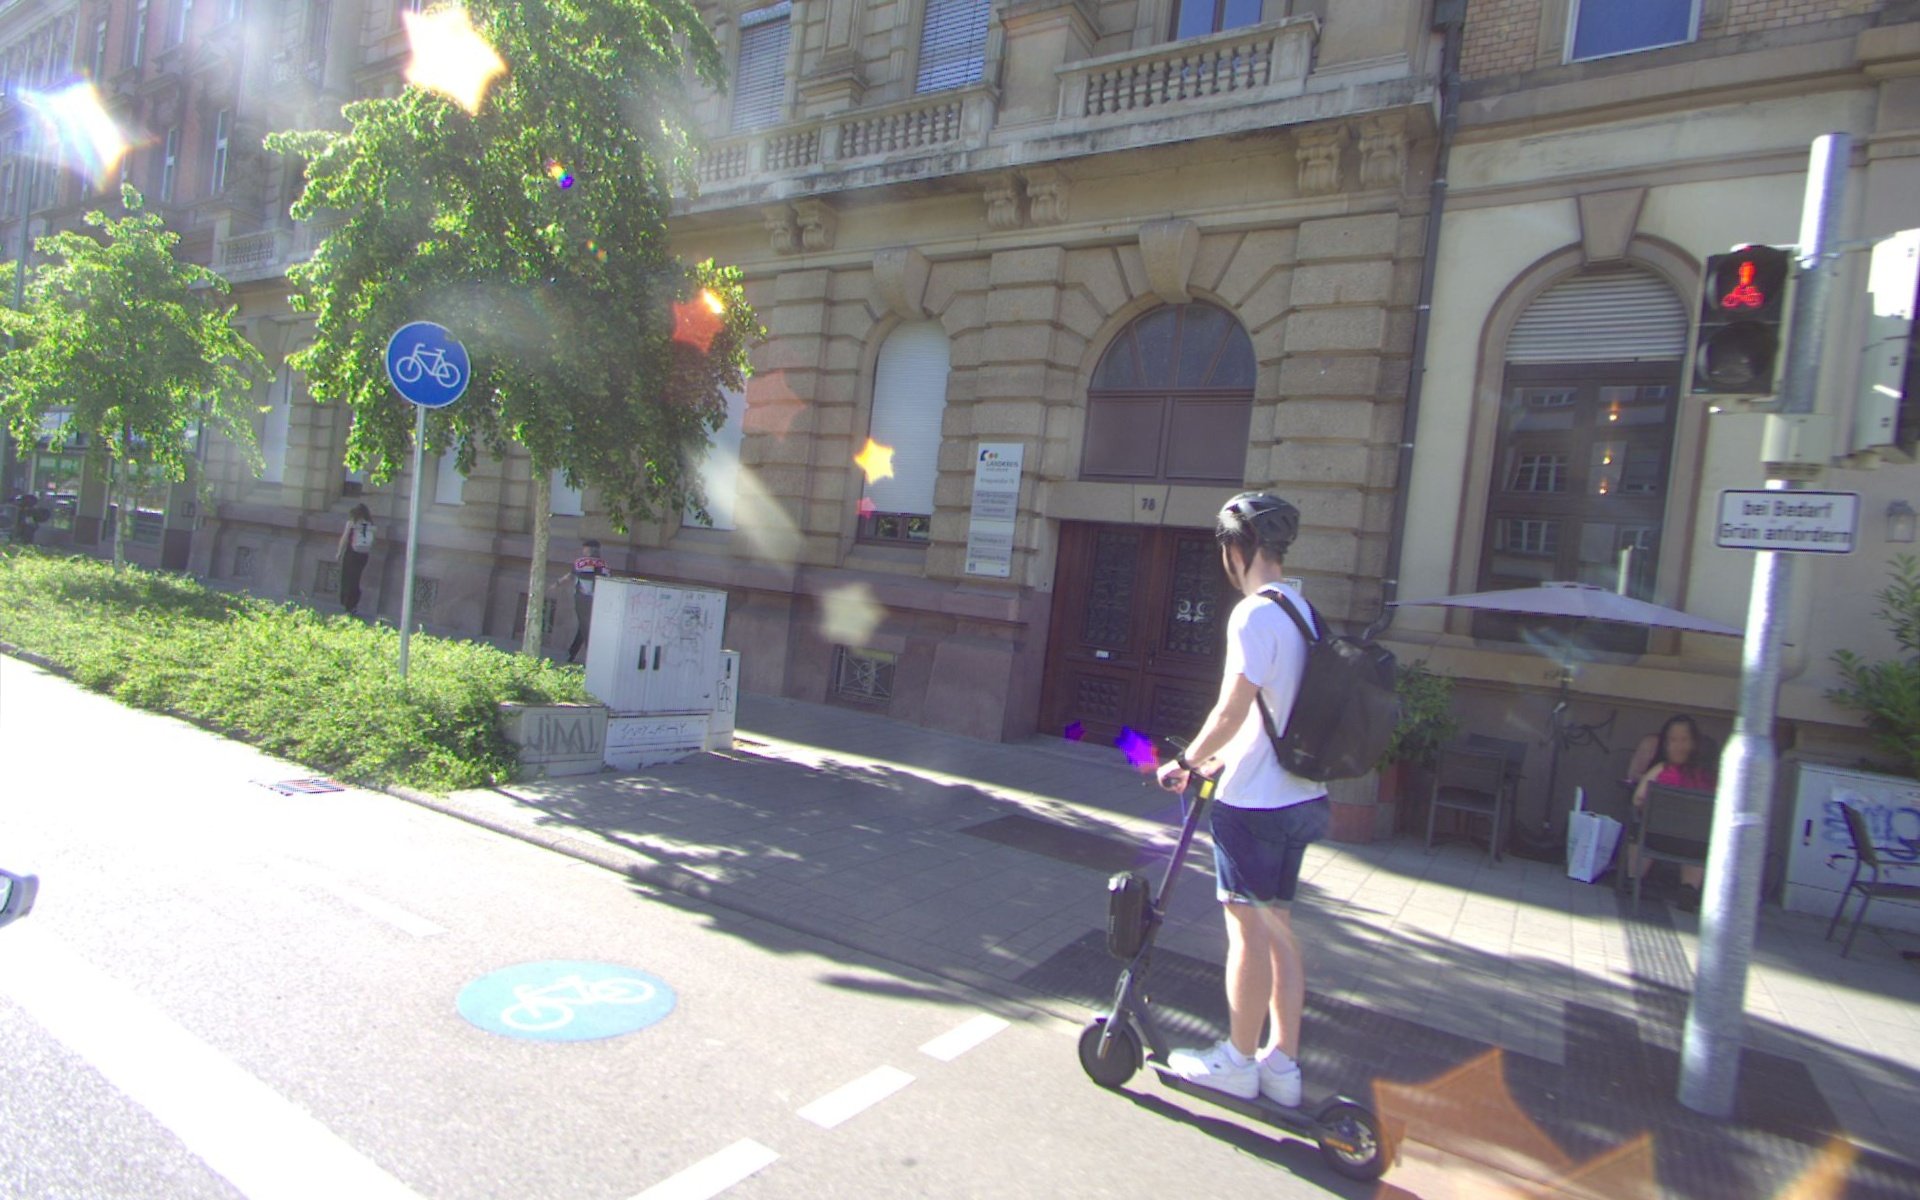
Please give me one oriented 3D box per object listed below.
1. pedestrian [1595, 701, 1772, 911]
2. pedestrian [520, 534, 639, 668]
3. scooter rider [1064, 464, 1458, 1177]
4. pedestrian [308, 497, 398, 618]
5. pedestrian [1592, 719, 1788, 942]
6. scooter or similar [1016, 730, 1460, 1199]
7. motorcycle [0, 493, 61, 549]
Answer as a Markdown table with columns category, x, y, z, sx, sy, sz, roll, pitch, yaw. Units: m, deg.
| category | x | y | z | sx | sy | sz | roll | pitch | yaw |
| --- | --- | --- | --- | --- | --- | --- | --- | --- | --- |
| pedestrian | 5.262 | 1.458 | 7.381 | 0.873 | 1.298 | 0.726 | 6 | 1 | 31 |
| pedestrian | -5.279 | 0.016 | 13.963 | 1.096 | 1.714 | 0.969 | 7 | 2 | 33 |
| scooter rider | 0.974 | 0.594 | 3.200 | 0.882 | 1.889 | 0.662 | 7 | 0 | 27 |
| pedestrian | -10.466 | -0.730 | 17.350 | 1.081 | 1.945 | 0.889 | 7 | 3 | 37 |
| pedestrian | 4.731 | 1.450 | 6.591 | 0.867 | 1.198 | 0.718 | 6 | 0 | 31 |
| scooter or similar | 0.890 | 1.100 | 3.208 | 1.130 | 1.172 | 0.647 | 7 | 0 | 26 |
| motorcycle | -25.477 | -2.176 | 27.196 | 2.932 | 1.281 | 0.867 | 6 | -1 | 32 |
